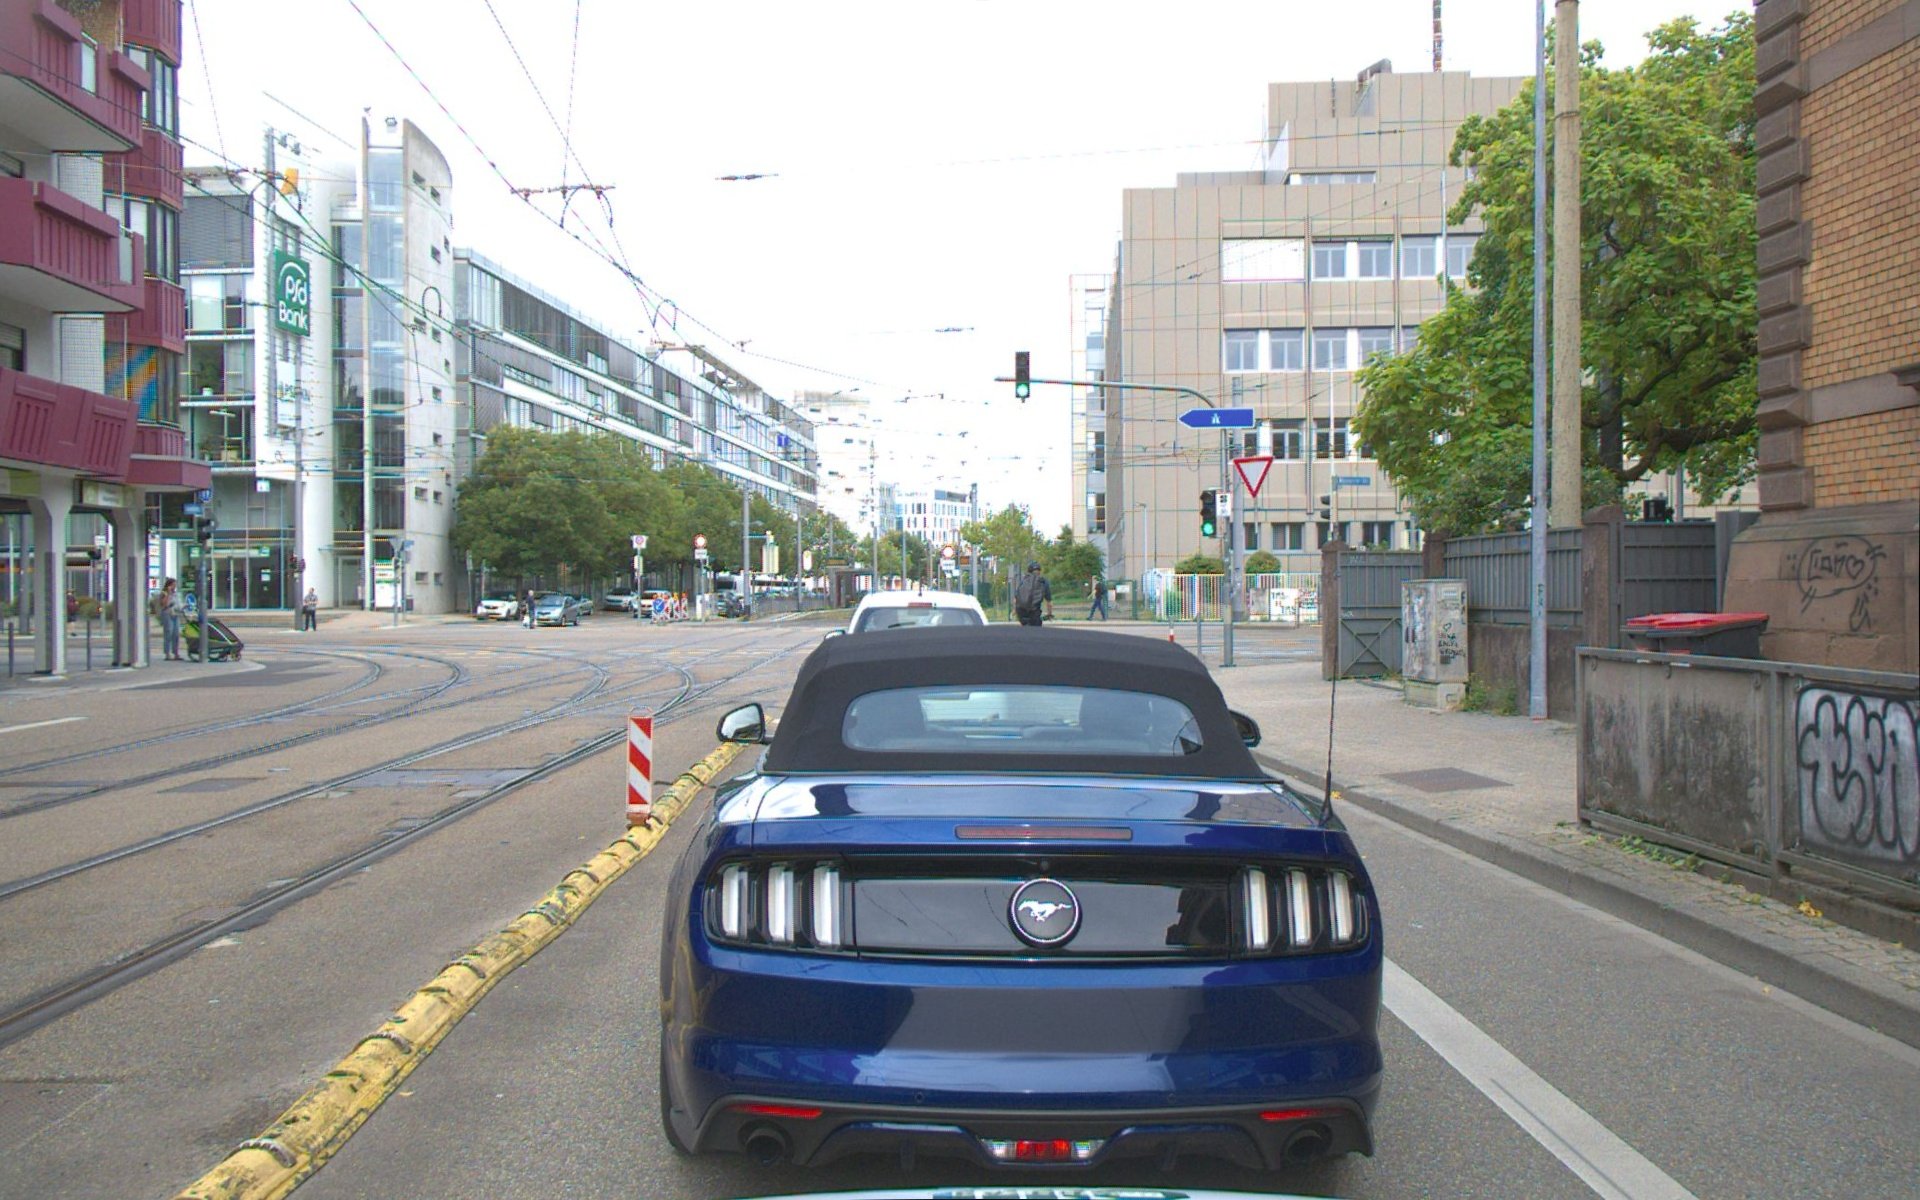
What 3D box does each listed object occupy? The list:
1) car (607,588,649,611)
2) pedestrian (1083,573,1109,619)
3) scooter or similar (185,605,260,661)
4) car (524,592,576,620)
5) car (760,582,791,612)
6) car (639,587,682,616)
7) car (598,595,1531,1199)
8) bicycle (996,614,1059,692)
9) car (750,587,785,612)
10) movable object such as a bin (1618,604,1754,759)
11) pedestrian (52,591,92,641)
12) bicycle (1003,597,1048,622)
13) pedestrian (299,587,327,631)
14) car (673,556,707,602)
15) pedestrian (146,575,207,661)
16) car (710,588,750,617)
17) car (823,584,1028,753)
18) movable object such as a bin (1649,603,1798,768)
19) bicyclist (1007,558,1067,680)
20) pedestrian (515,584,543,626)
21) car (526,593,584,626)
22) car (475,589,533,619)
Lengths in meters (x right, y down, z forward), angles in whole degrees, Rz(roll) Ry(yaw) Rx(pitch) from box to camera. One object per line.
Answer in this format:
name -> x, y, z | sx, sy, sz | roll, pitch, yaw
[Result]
car -> -23.231, -0.052, 115.984 | 1.945, 1.584, 4.513 | 1, 1, 0
pedestrian -> 5.779, -0.162, 70.348 | 1.063, 1.931, 0.902 | -1, 0, 5
scooter or similar -> -15.571, 0.689, 34.951 | 1.172, 1.148, 0.946 | 0, 0, -3
car -> -24.198, 0.349, 97.765 | 1.791, 1.584, 4.218 | 1, 1, 3
car -> -12.910, -0.214, 115.748 | 1.749, 2.022, 4.120 | -1, 0, -1
car -> -18.632, 0.064, 103.083 | 1.679, 1.689, 4.135 | 1, 1, 3
car -> 0.192, 0.722, 5.422 | 1.838, 1.428, 4.282 | 1, 0, -1
bicycle -> 1.015, 0.786, 25.367 | 0.784, 1.105, 2.130 | -1, 0, -3
car -> -12.851, -0.044, 110.581 | 1.830, 1.634, 4.212 | -1, 0, -1
movable object such as a bin -> 5.539, 0.608, 12.640 | 0.638, 1.101, 0.677 | -4, 0, -6
pedestrian -> -30.619, 0.533, 57.056 | 0.915, 1.700, 0.766 | -1, 0, 11
bicycle -> 2.881, 0.429, 72.752 | 0.629, 0.998, 2.125 | -1, -2, -42
pedestrian -> -28.076, 0.396, 71.757 | 0.816, 1.897, 0.766 | -1, 0, 11
car -> -22.026, -1.712, 135.019 | 1.945, 3.700, 4.513 | 1, 0, 0
pedestrian -> -16.505, 0.367, 34.858 | 0.929, 1.774, 0.811 | 0, 0, -4
car -> -13.469, 0.145, 97.037 | 1.841, 1.657, 4.086 | -1, 0, -1
car -> -0.474, 0.589, 16.738 | 1.799, 1.464, 4.183 | -1, 0, -5
movable object such as a bin -> 5.491, 0.599, 11.923 | 0.650, 1.101, 0.700 | -4, 0, -6
bicyclist -> 1.163, 0.278, 25.262 | 0.780, 1.816, 1.232 | -1, 0, -3
pedestrian -> -19.866, 0.218, 76.272 | 0.968, 1.888, 0.902 | -1, 0, 6
car -> -20.217, 0.466, 82.686 | 1.633, 1.533, 4.236 | 1, 1, 3
car -> -24.934, 0.206, 90.620 | 1.791, 1.584, 4.218 | 1, 1, 3
